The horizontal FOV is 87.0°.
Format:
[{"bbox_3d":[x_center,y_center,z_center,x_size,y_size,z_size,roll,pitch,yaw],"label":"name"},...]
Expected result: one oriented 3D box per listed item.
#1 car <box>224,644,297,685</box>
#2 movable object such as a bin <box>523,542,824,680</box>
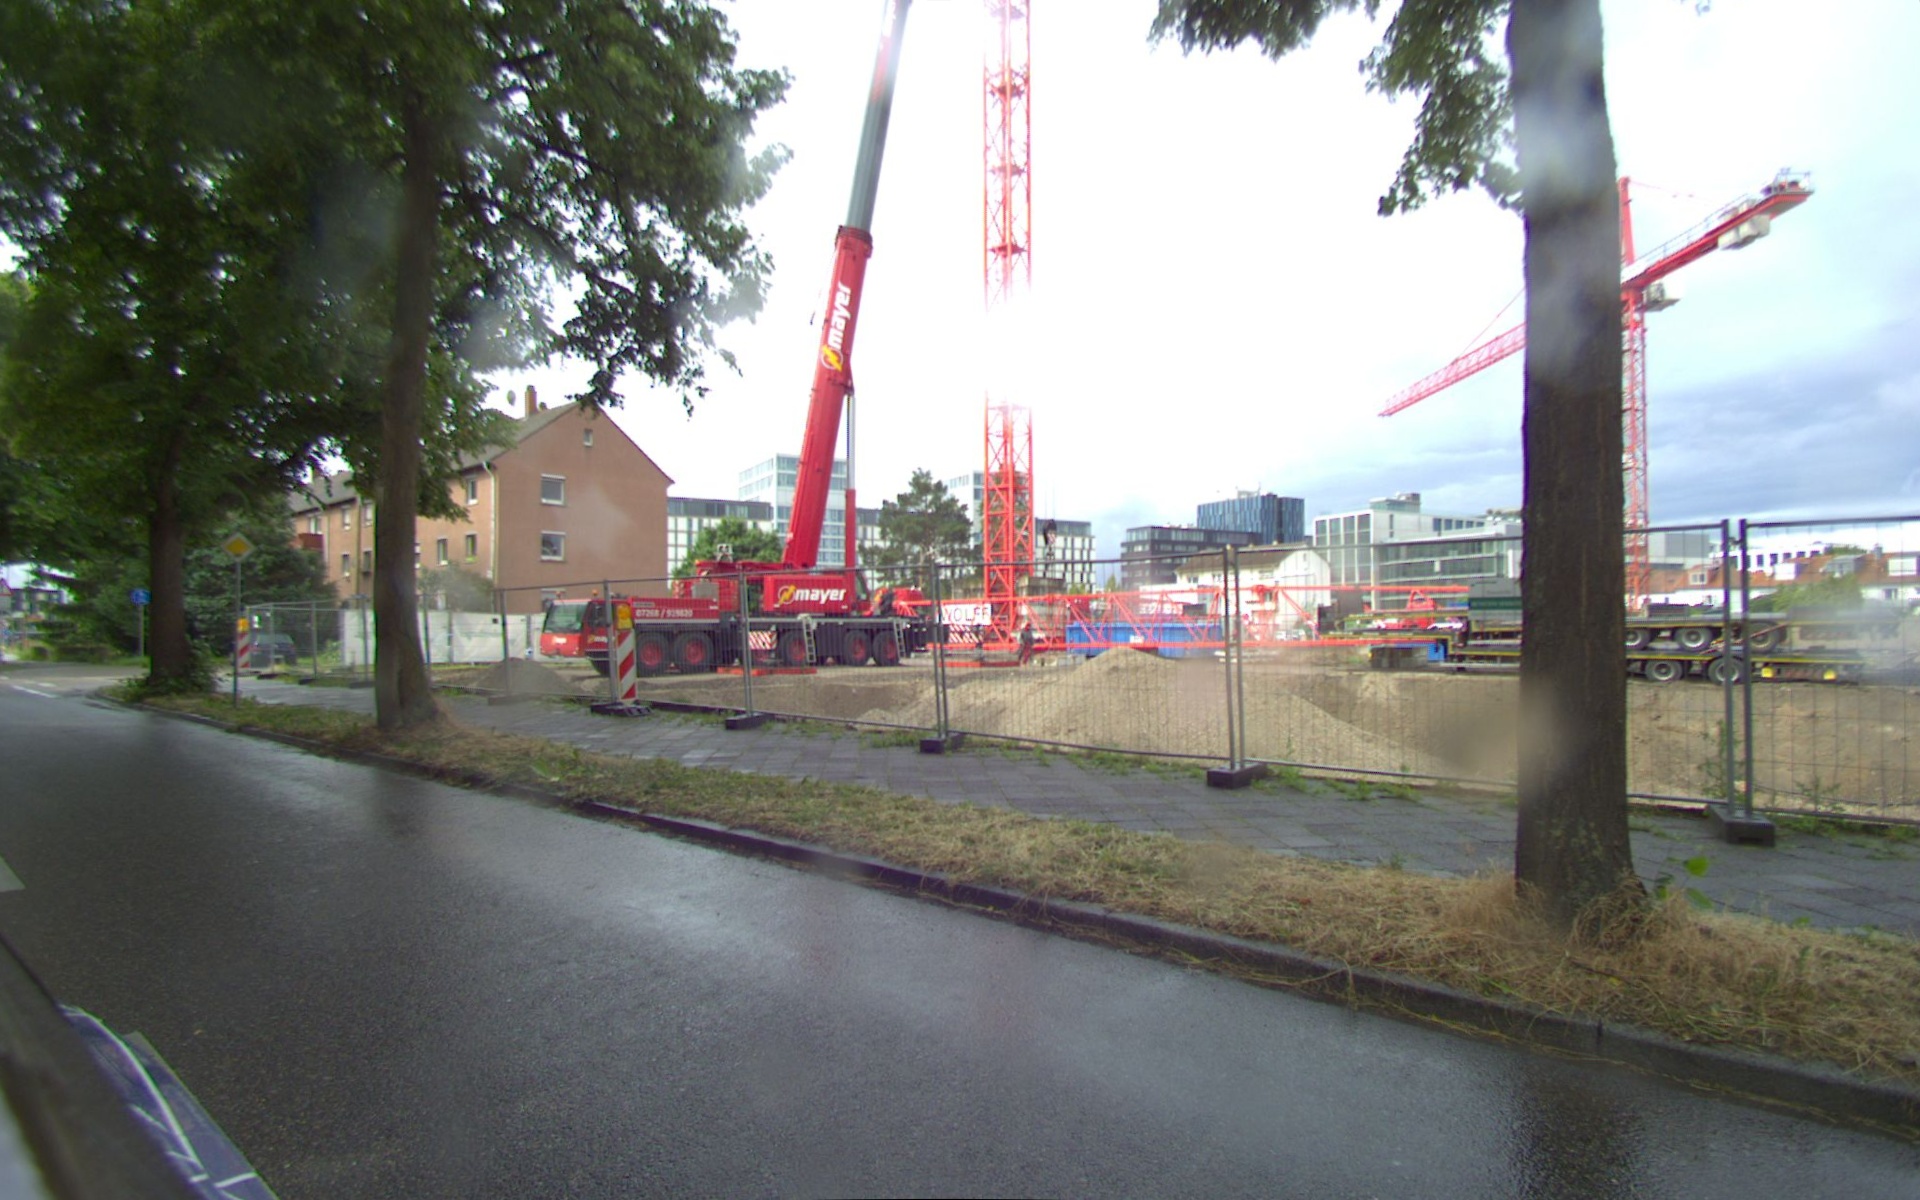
[{"bbox_3d":[-28.526,2.597,41.227,3.869,1.431,1.607,0,0,42],"label":"car"},{"bbox_3d":[-9.592,0.447,35.119,3.366,4.147,9.704,-3,-3,43],"label":"movable object such as a bin"}]
